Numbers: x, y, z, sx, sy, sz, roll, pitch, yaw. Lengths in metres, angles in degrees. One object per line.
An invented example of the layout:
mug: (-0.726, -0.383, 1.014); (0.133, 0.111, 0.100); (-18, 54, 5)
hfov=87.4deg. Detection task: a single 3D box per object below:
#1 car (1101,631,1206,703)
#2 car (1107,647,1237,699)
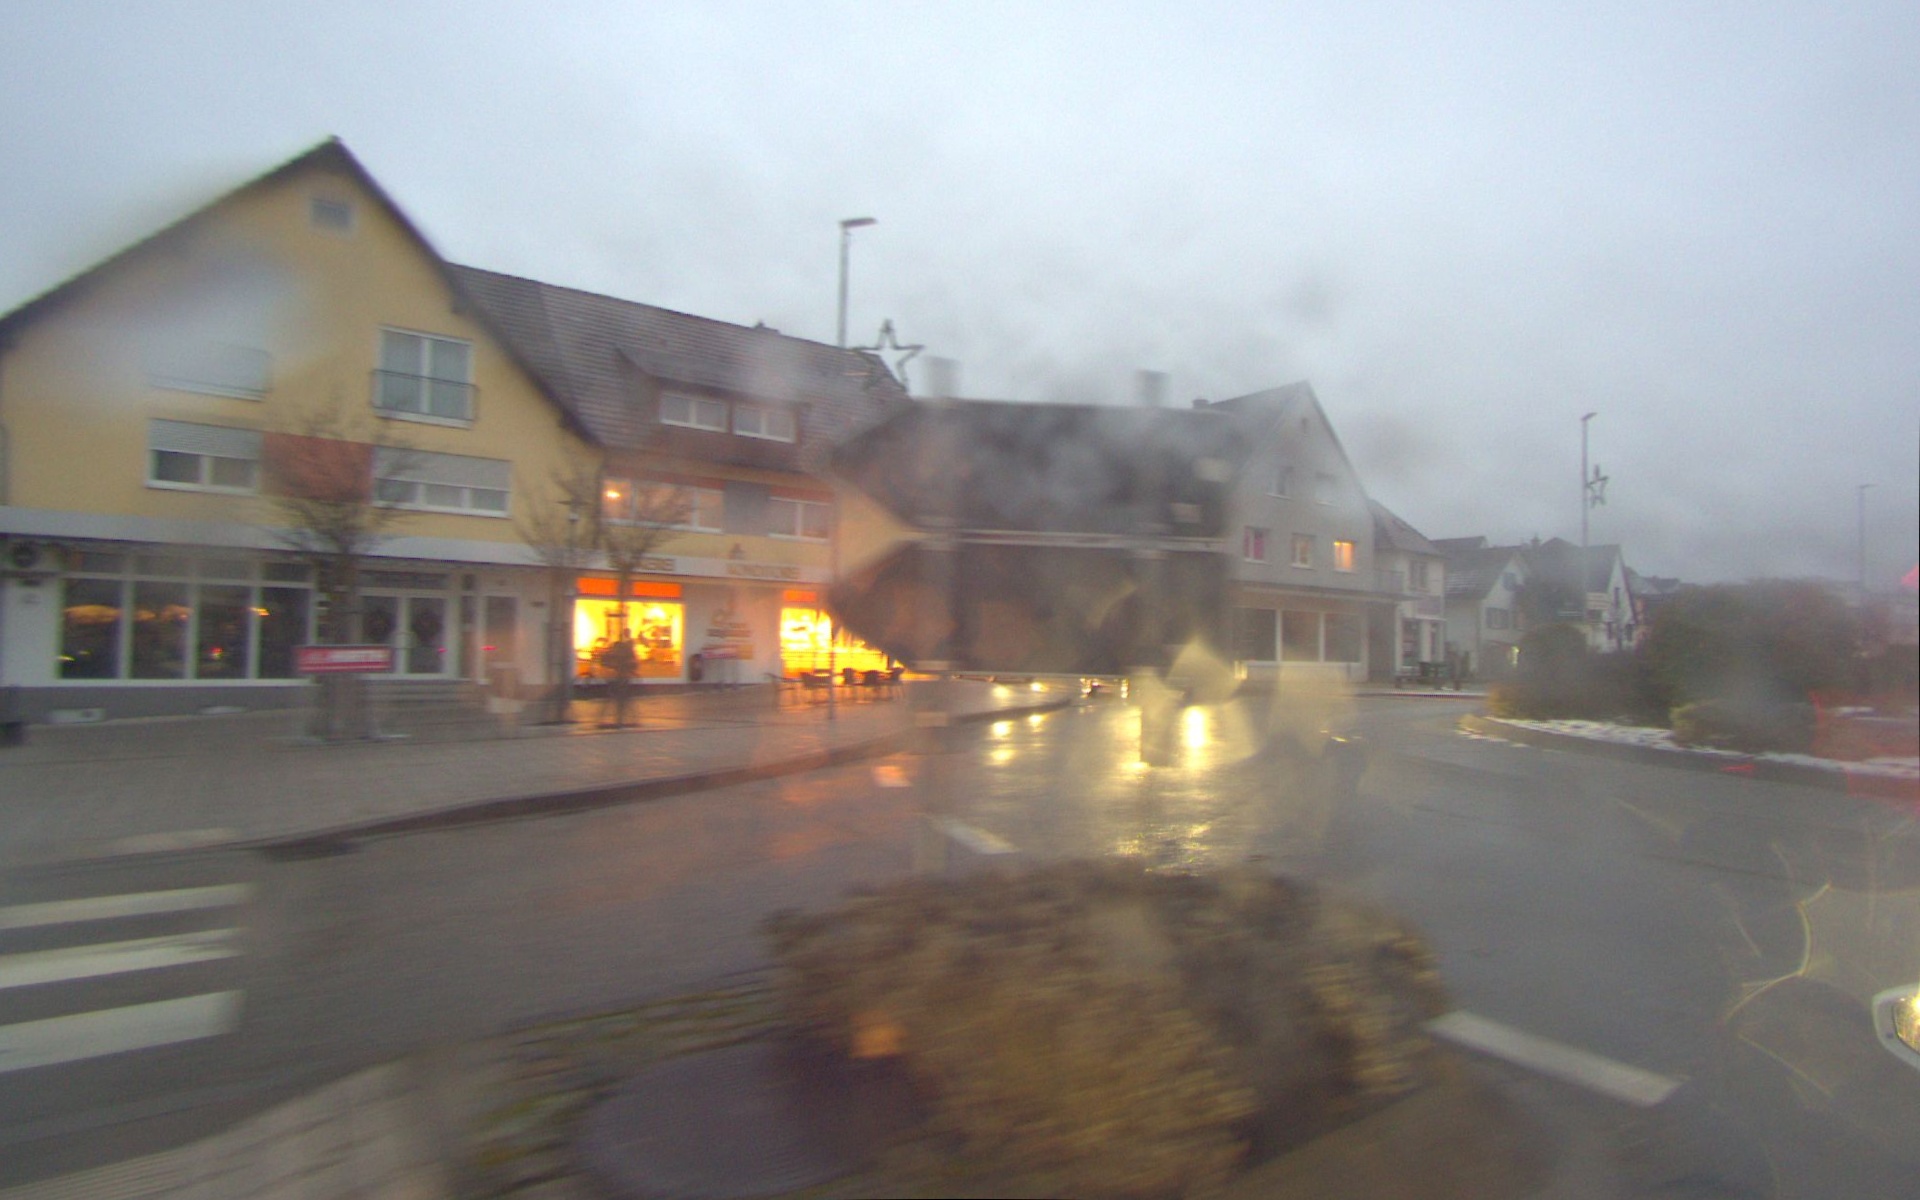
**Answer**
car: (5.050, 1.697, 26.829); (1.915, 1.614, 4.633); (1, -1, 0)
car: (7.524, 2.578, 36.022); (1.882, 1.632, 4.455); (2, -2, -35)
